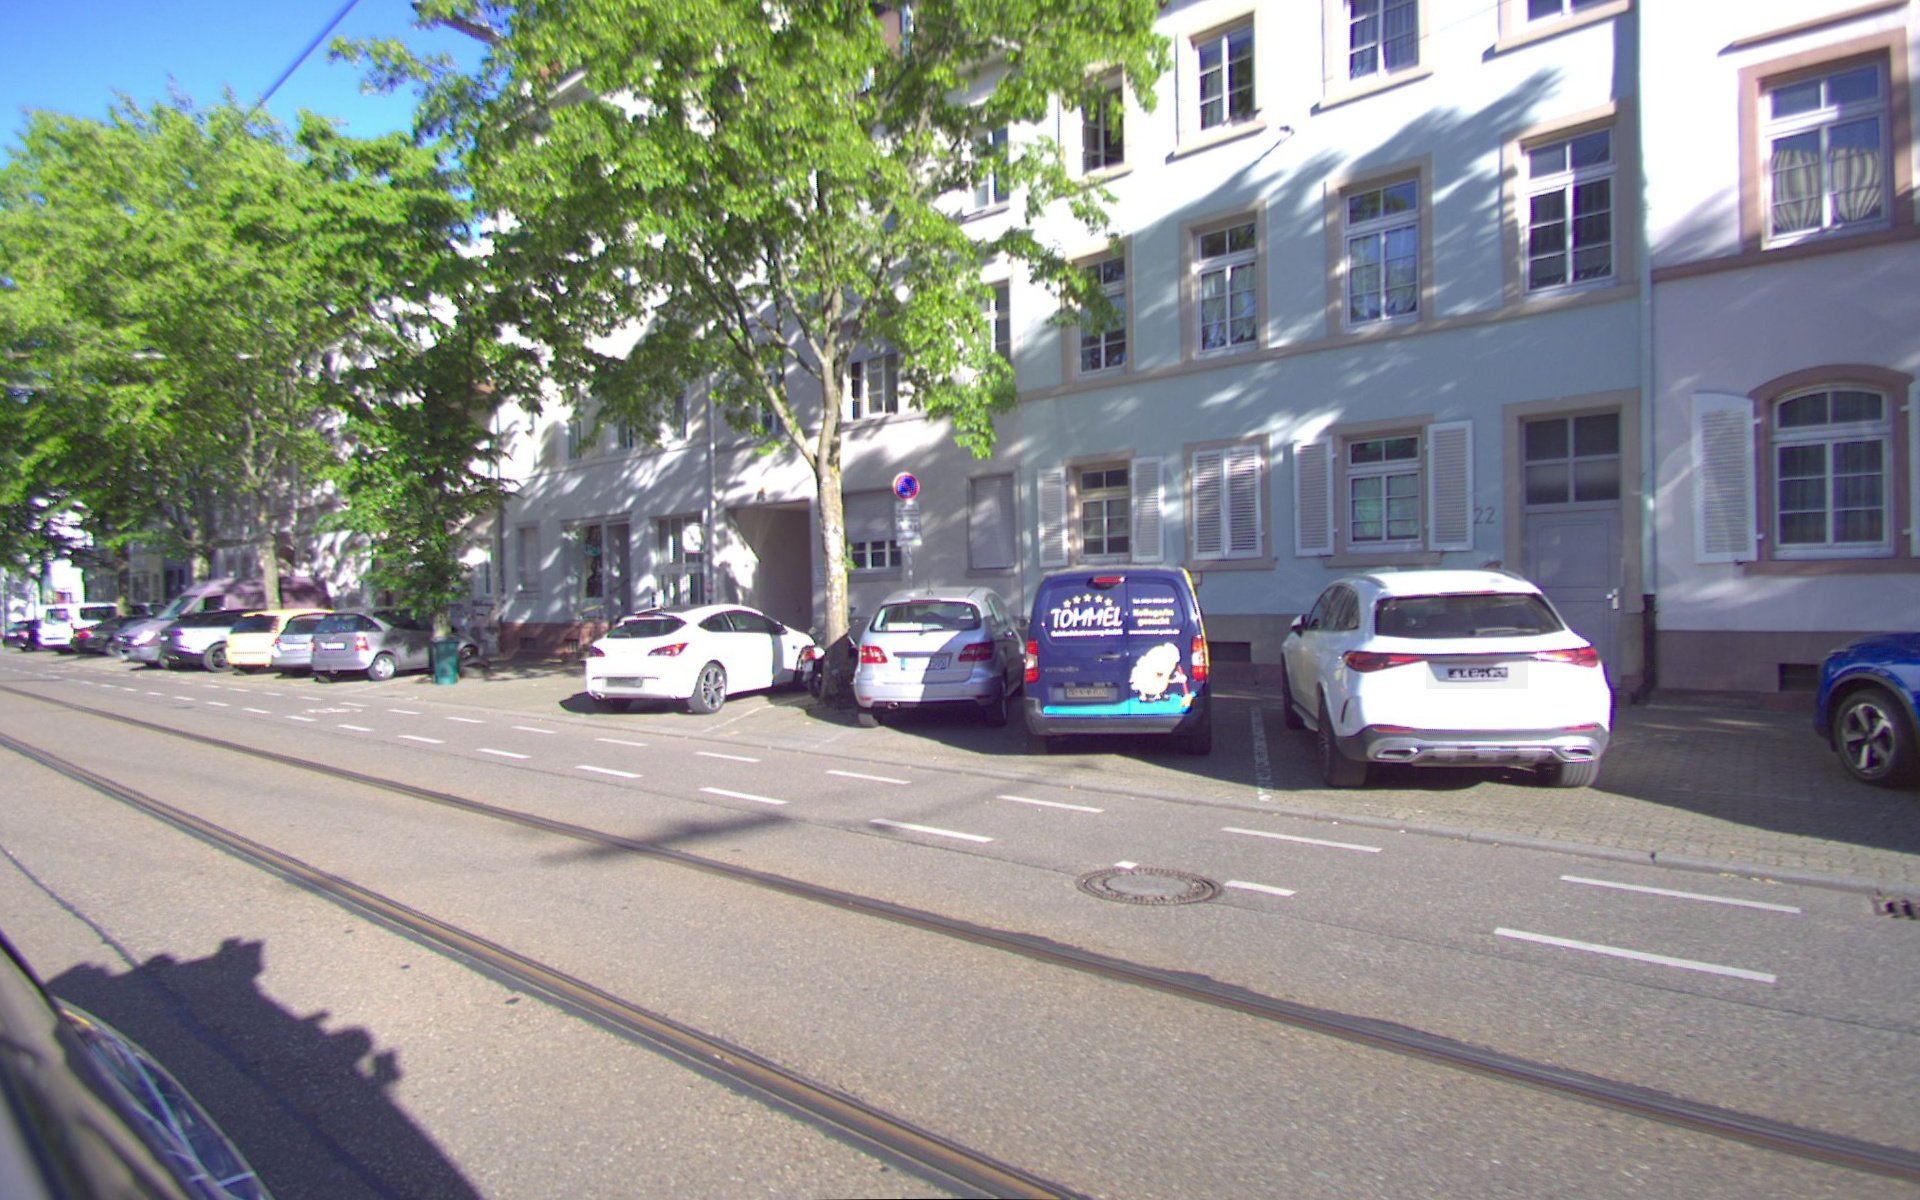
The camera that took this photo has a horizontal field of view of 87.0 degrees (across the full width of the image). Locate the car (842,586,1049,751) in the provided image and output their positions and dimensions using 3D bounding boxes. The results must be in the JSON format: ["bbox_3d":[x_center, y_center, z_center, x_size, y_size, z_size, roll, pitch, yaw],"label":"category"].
[{"bbox_3d":[0.002,0.723,12.883,1.791,1.669,3.986,-3,1,11],"label":"car"}]

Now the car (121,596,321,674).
[{"bbox_3d":[-21.956,0.983,30.219,2.160,2.134,4.396,-2,-1,37],"label":"car"}]

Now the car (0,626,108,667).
[{"bbox_3d":[-40.914,2.050,45.344,1.761,1.570,3.989,-1,0,9],"label":"car"}]

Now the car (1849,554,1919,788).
[{"bbox_3d":[7.371,0.514,5.600,1.552,1.621,3.899,0,1,3],"label":"car"}]

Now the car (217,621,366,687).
[{"bbox_3d":[-17.306,1.358,26.371,1.368,1.565,3.366,-1,-1,8],"label":"car"}]

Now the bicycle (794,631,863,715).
[{"bbox_3d":[-1.931,1.049,15.028,0.433,1.169,1.465,-1,-1,18],"label":"bicycle"}]

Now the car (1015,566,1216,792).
[{"bbox_3d":[1.717,0.644,10.603,1.716,1.856,3.433,-1,3,12],"label":"car"}]

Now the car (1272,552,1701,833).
[{"bbox_3d":[4.212,0.633,9.188,2.186,1.808,4.921,-1,-1,12],"label":"car"}]

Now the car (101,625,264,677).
[{"bbox_3d":[-26.075,1.680,34.088,1.660,1.464,4.067,-1,1,24],"label":"car"}]

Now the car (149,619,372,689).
[{"bbox_3d":[-19.689,1.439,28.680,2.160,1.737,4.784,-2,-1,37],"label":"car"}]

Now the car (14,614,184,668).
[{"bbox_3d":[-34.245,1.576,40.462,2.056,2.029,4.915,-1,-1,16],"label":"car"}]

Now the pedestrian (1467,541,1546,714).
[{"bbox_3d":[6.083,0.303,11.267,0.624,1.852,0.637,-2,-2,41],"label":"pedestrian"}]

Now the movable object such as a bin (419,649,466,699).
[{"bbox_3d":[-10.280,1.465,20.103,0.669,0.952,0.615,-2,-2,38],"label":"movable object such as a bin"}]

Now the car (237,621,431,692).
[{"bbox_3d":[-15.080,1.322,24.664,1.684,1.564,4.158,-1,-2,10],"label":"car"}]

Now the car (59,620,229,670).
[{"bbox_3d":[-30.980,1.668,38.567,1.949,1.588,4.655,-2,0,35],"label":"car"}]

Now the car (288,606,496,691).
[{"bbox_3d":[-12.603,1.015,22.742,1.689,1.689,3.975,-2,0,19],"label":"car"}]

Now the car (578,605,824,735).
[{"bbox_3d":[-3.734,0.937,15.249,1.872,1.541,3.625,-1,2,19],"label":"car"}]
